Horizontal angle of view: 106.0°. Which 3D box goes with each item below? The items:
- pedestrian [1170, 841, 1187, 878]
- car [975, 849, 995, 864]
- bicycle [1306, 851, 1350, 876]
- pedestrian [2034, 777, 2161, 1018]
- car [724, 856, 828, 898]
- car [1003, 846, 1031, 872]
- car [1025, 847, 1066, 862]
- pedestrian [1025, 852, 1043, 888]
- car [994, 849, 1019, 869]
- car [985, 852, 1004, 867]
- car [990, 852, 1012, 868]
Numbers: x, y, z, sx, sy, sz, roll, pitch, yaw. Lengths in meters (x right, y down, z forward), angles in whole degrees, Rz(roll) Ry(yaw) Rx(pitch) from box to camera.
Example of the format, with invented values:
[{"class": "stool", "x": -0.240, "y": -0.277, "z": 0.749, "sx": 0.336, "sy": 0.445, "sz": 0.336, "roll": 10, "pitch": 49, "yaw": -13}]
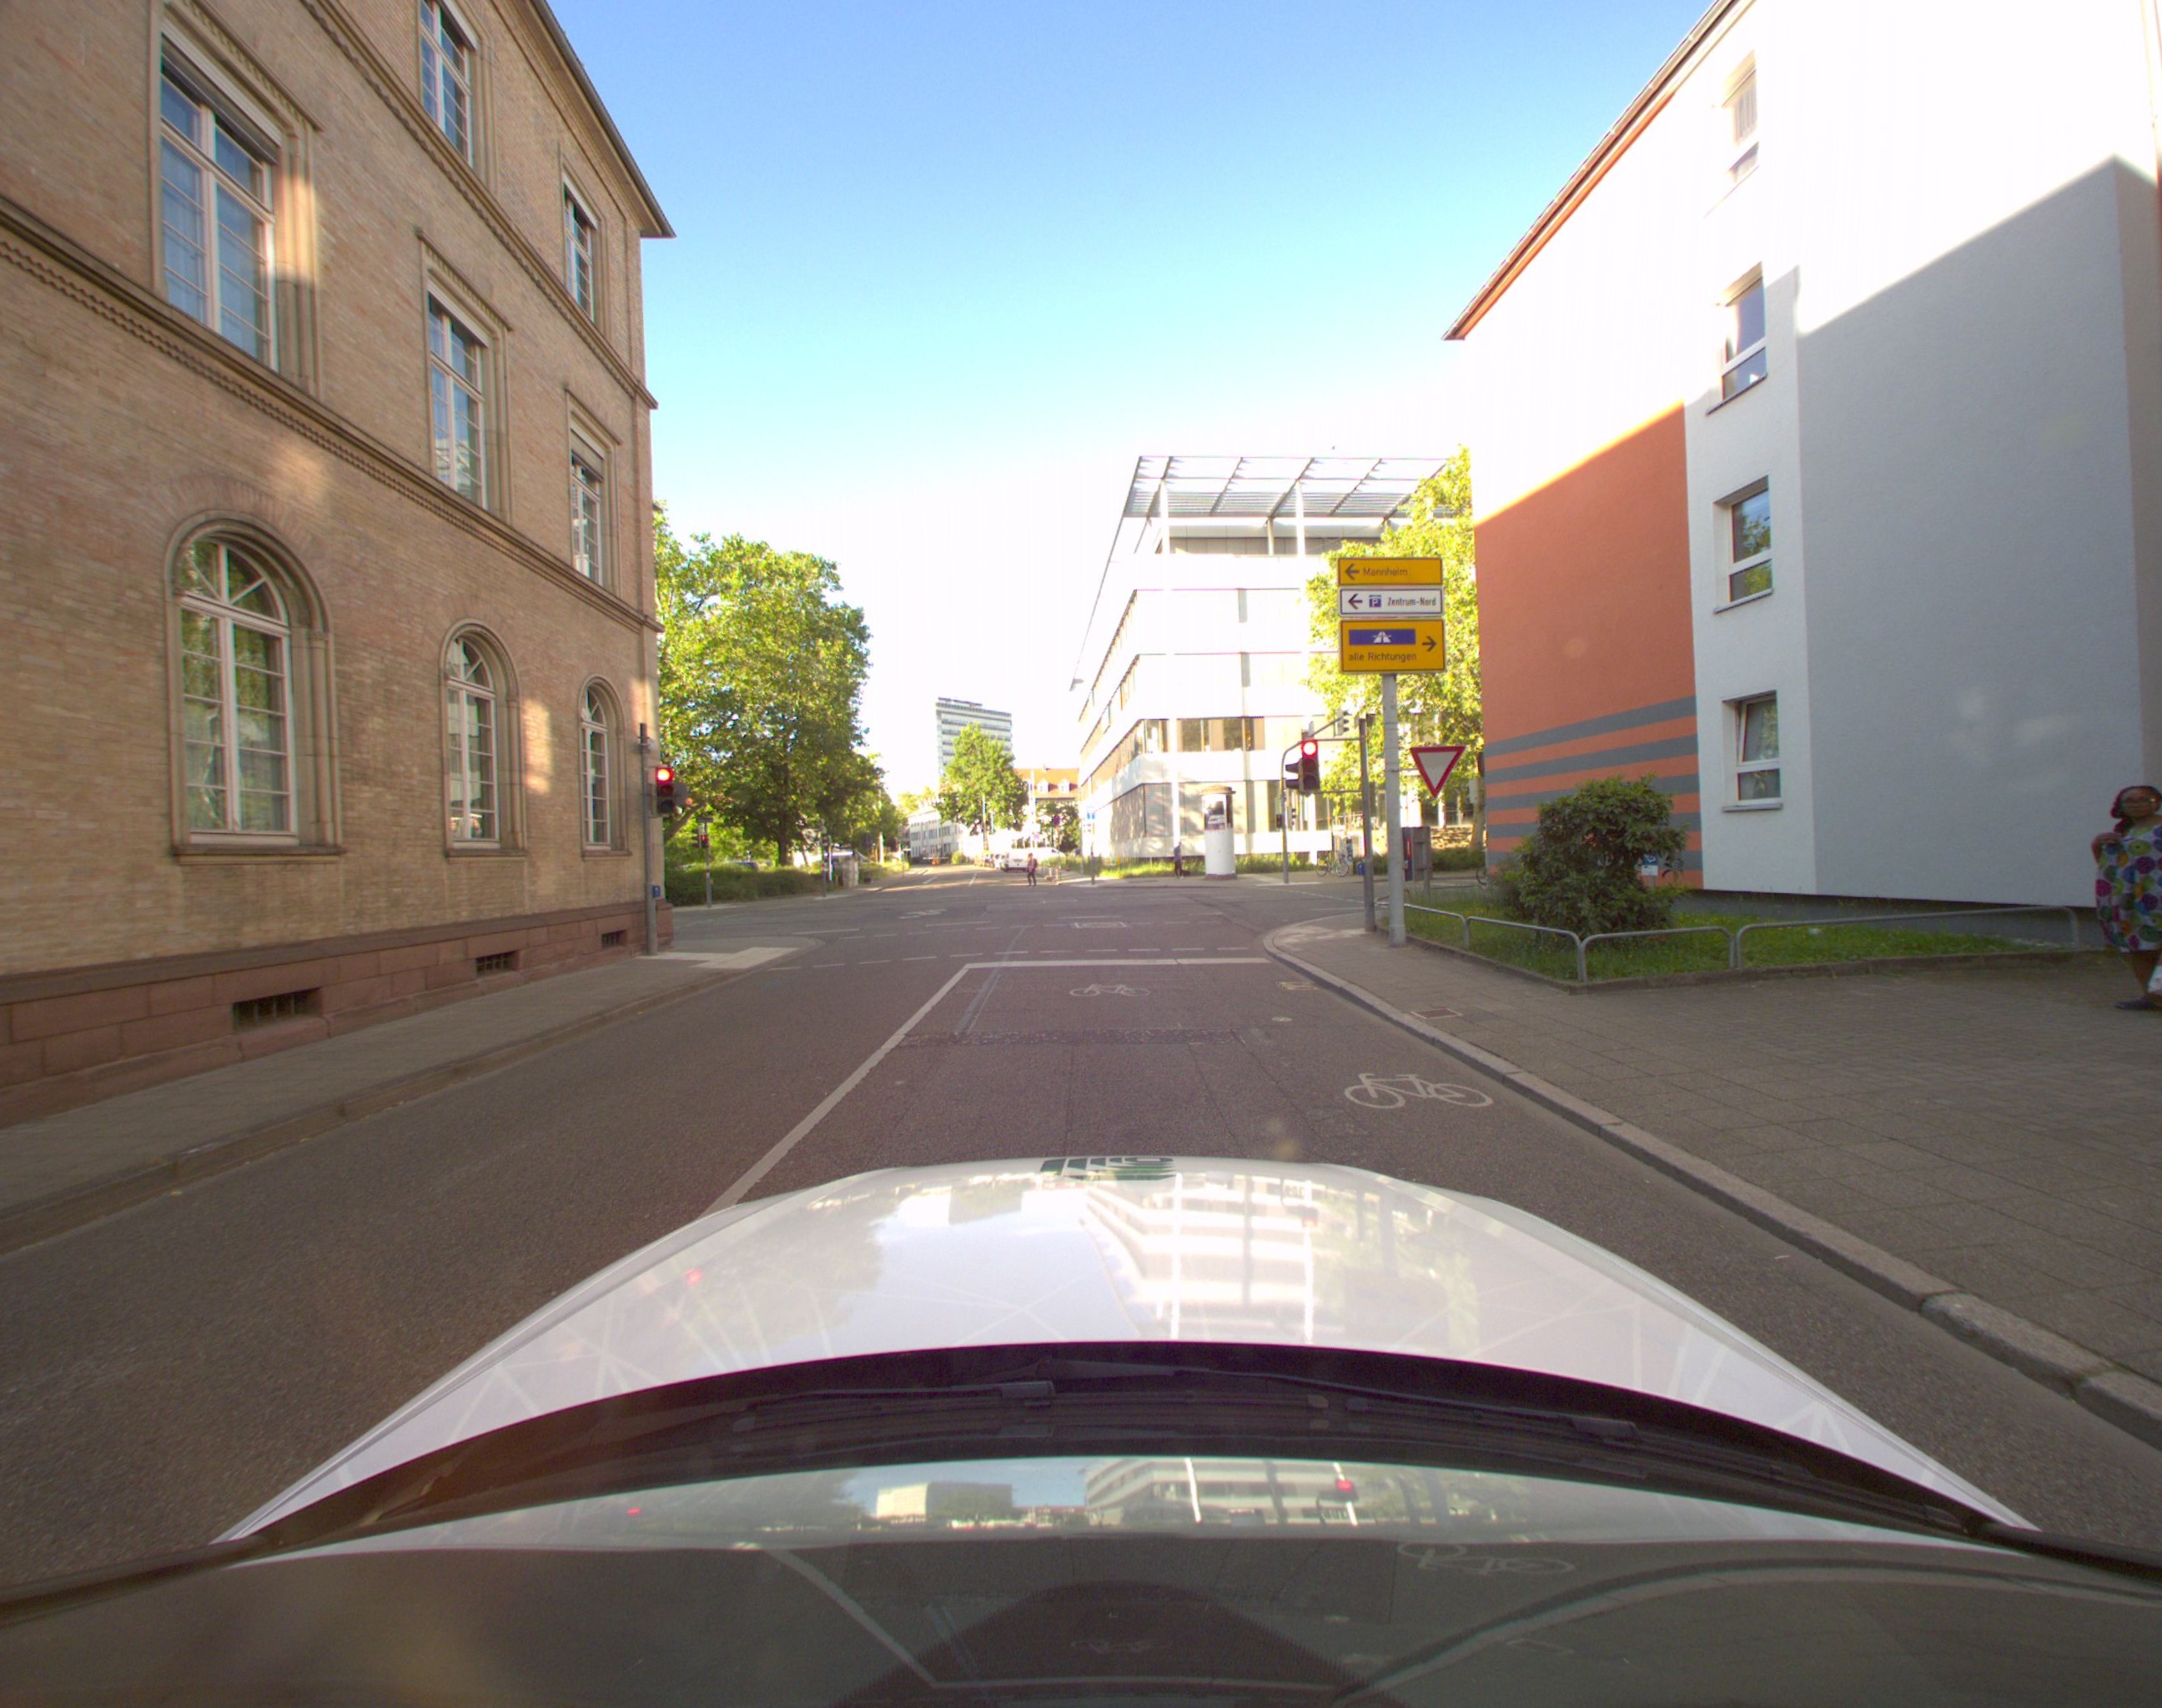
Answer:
[{"class": "pedestrian", "x": 4.661, "y": 0.267, "z": 38.961, "sx": 0.650, "sy": 1.736, "sz": 0.813, "roll": -2, "pitch": 0, "yaw": 2}, {"class": "car", "x": -11.330, "y": 0.253, "z": 96.137, "sx": 2.100, "sy": 1.658, "sz": 4.461, "roll": -2, "pitch": 0, "yaw": -9}, {"class": "bicycle", "x": 10.896, "y": 0.427, "z": 36.011, "sx": 0.467, "sy": 1.049, "sz": 1.893, "roll": -2, "pitch": 0, "yaw": -40}, {"class": "pedestrian", "x": 7.450, "y": 0.262, "z": 5.565, "sx": 0.744, "sy": 1.573, "sz": 0.959, "roll": -3, "pitch": 1, "yaw": 7}, {"class": "car", "x": -14.407, "y": 1.056, "z": 38.650, "sx": 4.219, "sy": 1.777, "sz": 1.901, "roll": -2, "pitch": 0, "yaw": -7}, {"class": "car", "x": -5.140, "y": 0.380, "z": 64.948, "sx": 2.065, "sy": 1.963, "sz": 4.228, "roll": -2, "pitch": 0, "yaw": -7}, {"class": "car", "x": -4.529, "y": 0.050, "z": 103.182, "sx": 4.889, "sy": 1.872, "sz": 1.990, "roll": -1, "pitch": -1, "yaw": -15}, {"class": "pedestrian", "x": -2.163, "y": 0.717, "z": 37.184, "sx": 0.709, "sy": 1.599, "sz": 0.617, "roll": -2, "pitch": 0, "yaw": 1}, {"class": "car", "x": -7.079, "y": 0.458, "z": 76.752, "sx": 1.947, "sy": 1.795, "sz": 4.223, "roll": -2, "pitch": 0, "yaw": -11}, {"class": "car", "x": -9.212, "y": 0.529, "z": 86.256, "sx": 1.704, "sy": 1.464, "sz": 4.225, "roll": -2, "pitch": 0, "yaw": -9}, {"class": "car", "x": -8.049, "y": 0.591, "z": 81.391, "sx": 1.705, "sy": 1.424, "sz": 4.221, "roll": -2, "pitch": 0, "yaw": -11}]
